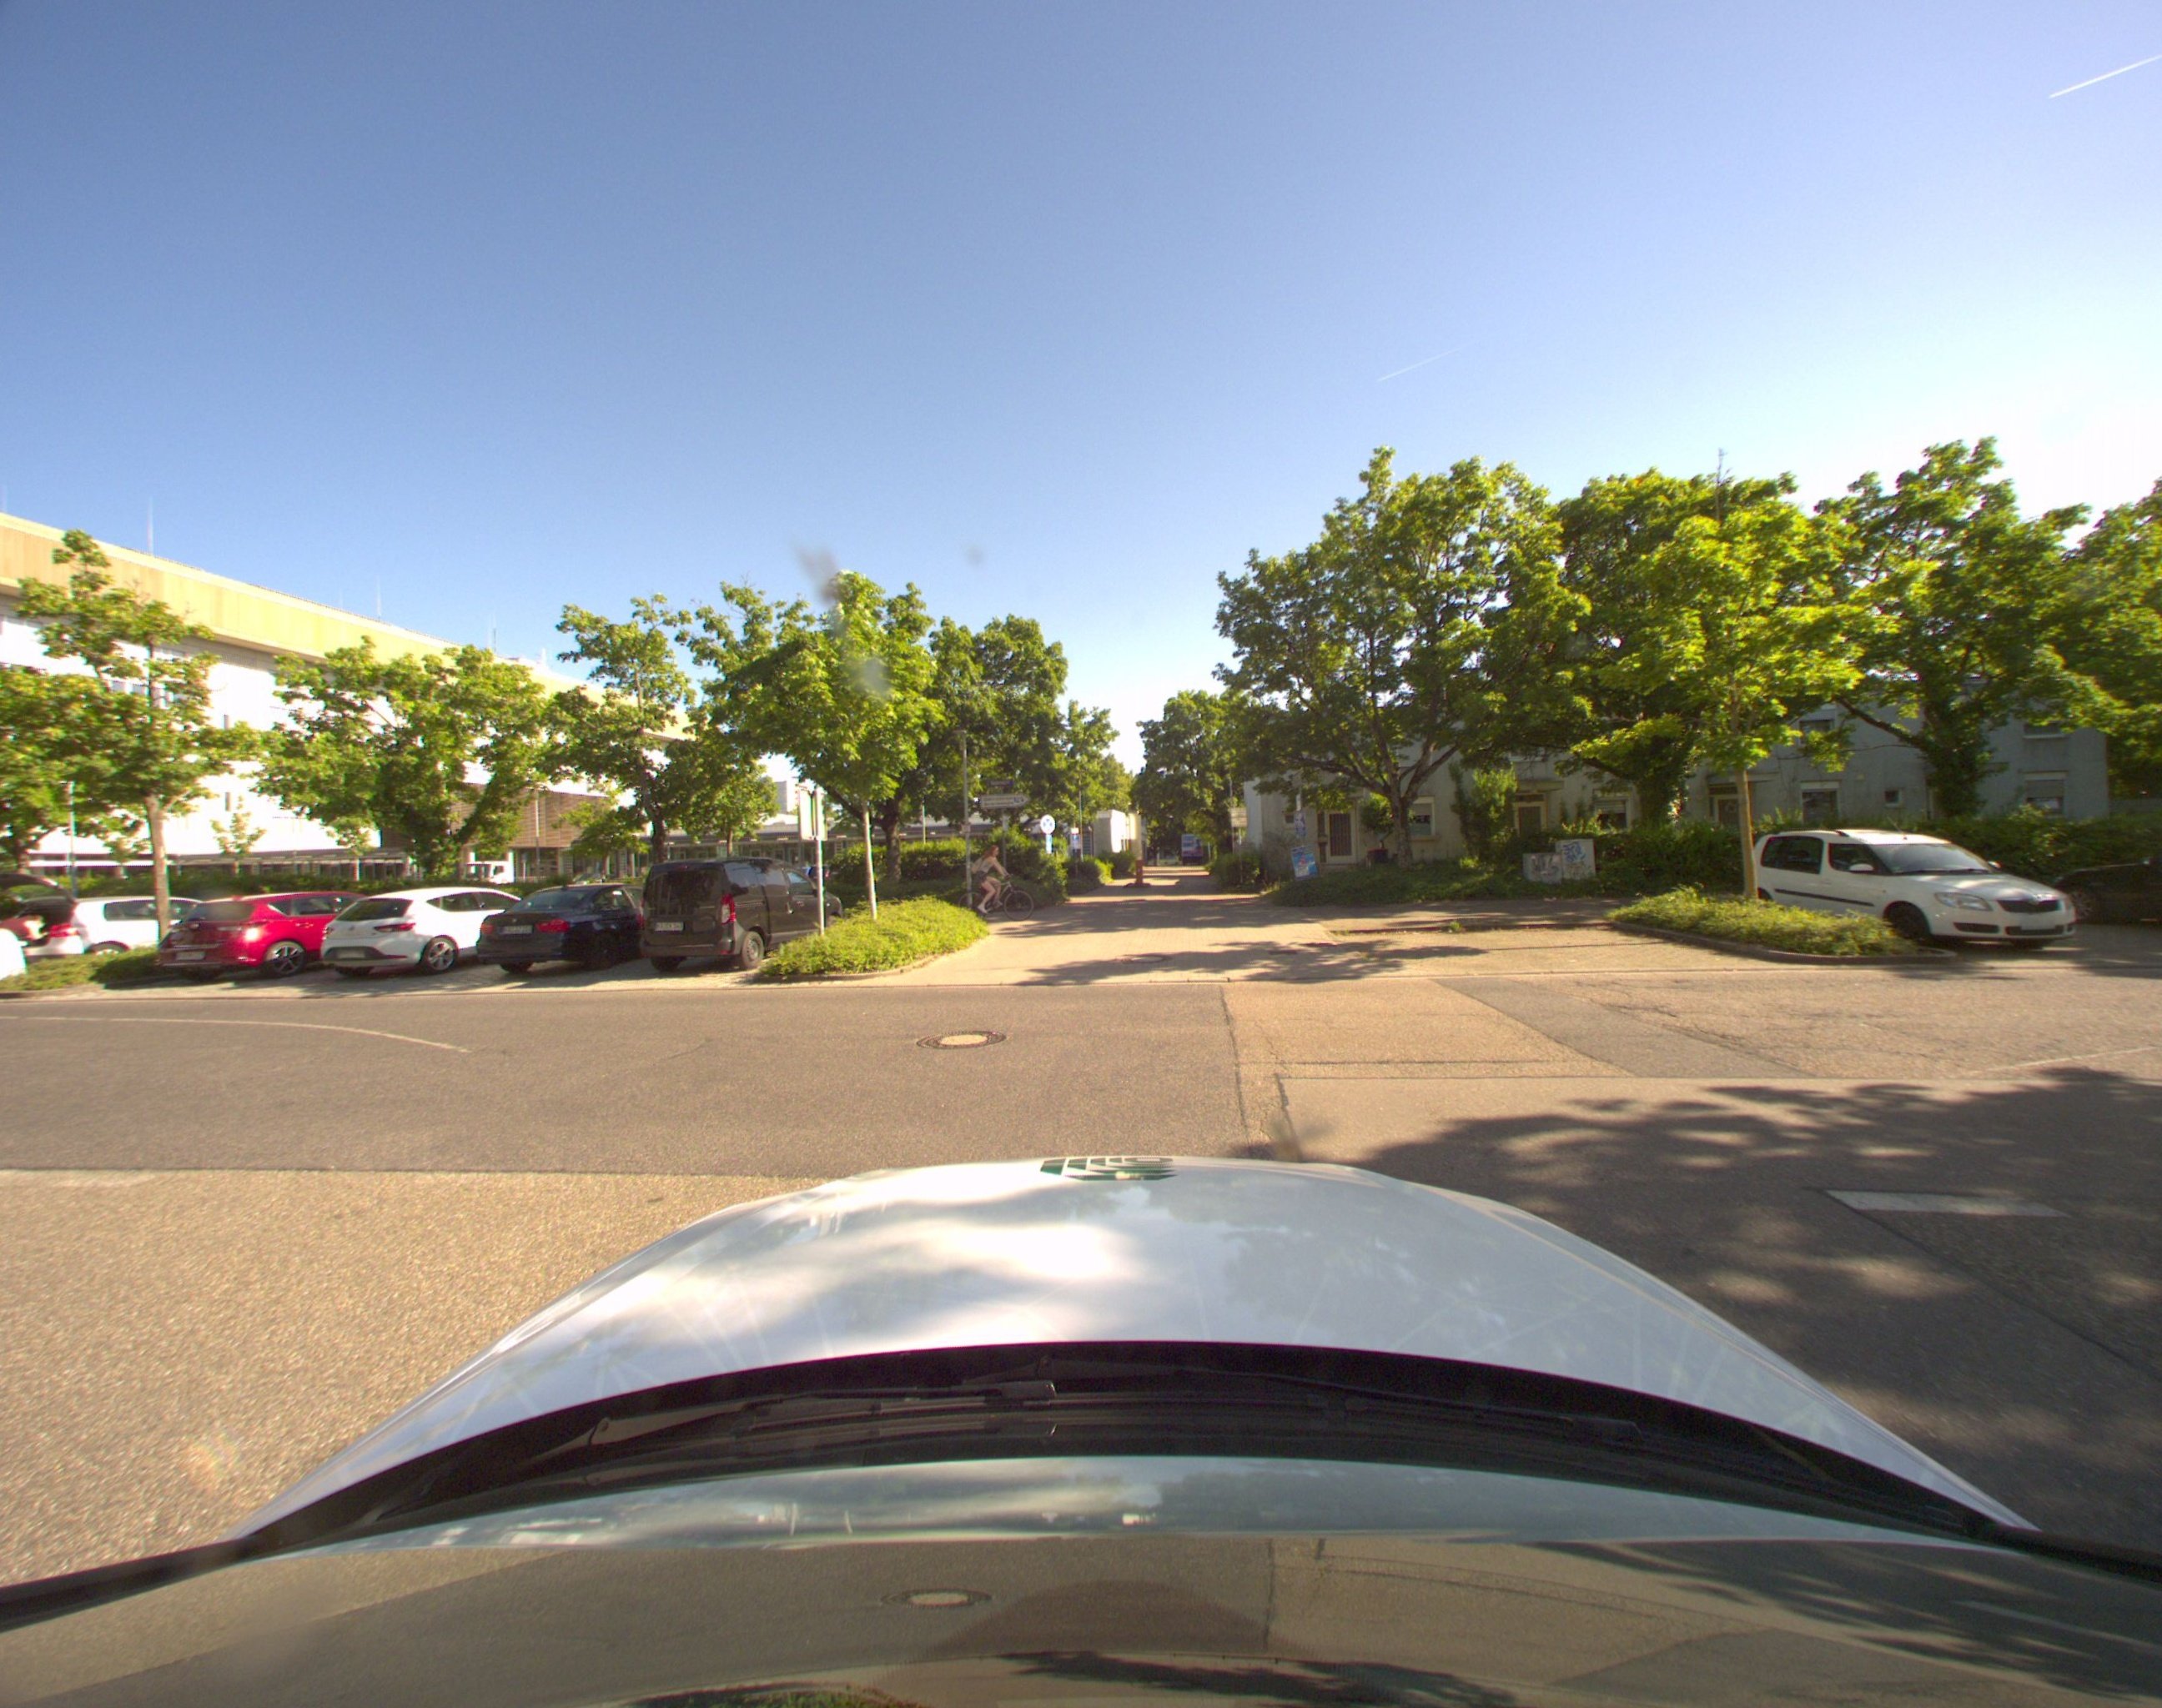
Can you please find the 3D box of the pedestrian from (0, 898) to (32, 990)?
[{"bbox_3d":[-19.235,1.598,14.425,0.665,1.579,0.771,-1,-1,36],"label":"pedestrian"}]

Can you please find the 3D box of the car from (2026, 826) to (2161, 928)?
[{"bbox_3d":[16.467,0.335,11.427,1.814,1.406,4.176,-2,1,6],"label":"car"}]

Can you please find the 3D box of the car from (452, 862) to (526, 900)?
[{"bbox_3d":[-42.022,1.857,57.929,2.212,2.491,3.656,-2,0,10],"label":"car"}]

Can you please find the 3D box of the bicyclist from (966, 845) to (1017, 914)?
[{"bbox_3d":[-2.017,0.569,18.386,1.006,1.523,0.597,-1,0,7],"label":"bicyclist"}]

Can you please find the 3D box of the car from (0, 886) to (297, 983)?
[{"bbox_3d":[-18.982,1.544,16.750,1.666,1.578,3.919,-1,0,6],"label":"car"}]

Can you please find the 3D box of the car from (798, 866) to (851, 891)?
[{"bbox_3d":[-17.501,1.661,55.751,1.825,1.497,3.918,-2,0,10],"label":"car"}]

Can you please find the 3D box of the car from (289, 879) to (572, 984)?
[{"bbox_3d":[-11.738,1.313,15.094,1.793,1.436,3.919,-2,1,6],"label":"car"}]

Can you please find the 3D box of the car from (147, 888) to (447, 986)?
[{"bbox_3d":[-14.537,1.469,15.452,1.659,1.426,3.919,-1,0,6],"label":"car"}]

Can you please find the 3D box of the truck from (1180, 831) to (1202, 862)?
[{"bbox_3d":[14.570,-0.926,107.565,2.744,3.869,9.351,-1,0,8],"label":"truck"}]

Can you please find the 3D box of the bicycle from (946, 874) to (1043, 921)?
[{"bbox_3d":[-1.935,0.977,18.387,2.071,0.996,0.597,-1,0,7],"label":"bicycle"}]

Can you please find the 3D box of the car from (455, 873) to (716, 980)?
[{"bbox_3d":[-8.653,1.179,14.754,1.814,1.406,4.176,-2,1,6],"label":"car"}]

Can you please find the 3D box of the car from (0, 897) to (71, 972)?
[{"bbox_3d":[-23.979,1.790,16.425,1.722,1.519,4.207,-2,1,6],"label":"car"}]

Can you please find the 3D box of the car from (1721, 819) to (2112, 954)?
[{"bbox_3d":[11.933,0.363,12.136,1.814,1.598,4.176,-2,1,6],"label":"car"}]

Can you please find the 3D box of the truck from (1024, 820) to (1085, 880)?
[{"bbox_3d":[-1.674,-0.286,55.411,2.786,3.806,6.943,-1,0,9],"label":"truck"}]

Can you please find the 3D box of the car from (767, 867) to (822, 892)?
[{"bbox_3d":[-19.608,1.696,55.911,1.825,1.497,3.918,-2,0,10],"label":"car"}]

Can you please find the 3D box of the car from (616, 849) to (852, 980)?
[{"bbox_3d":[-5.862,0.913,14.415,1.863,1.846,4.178,-2,1,8],"label":"car"}]
